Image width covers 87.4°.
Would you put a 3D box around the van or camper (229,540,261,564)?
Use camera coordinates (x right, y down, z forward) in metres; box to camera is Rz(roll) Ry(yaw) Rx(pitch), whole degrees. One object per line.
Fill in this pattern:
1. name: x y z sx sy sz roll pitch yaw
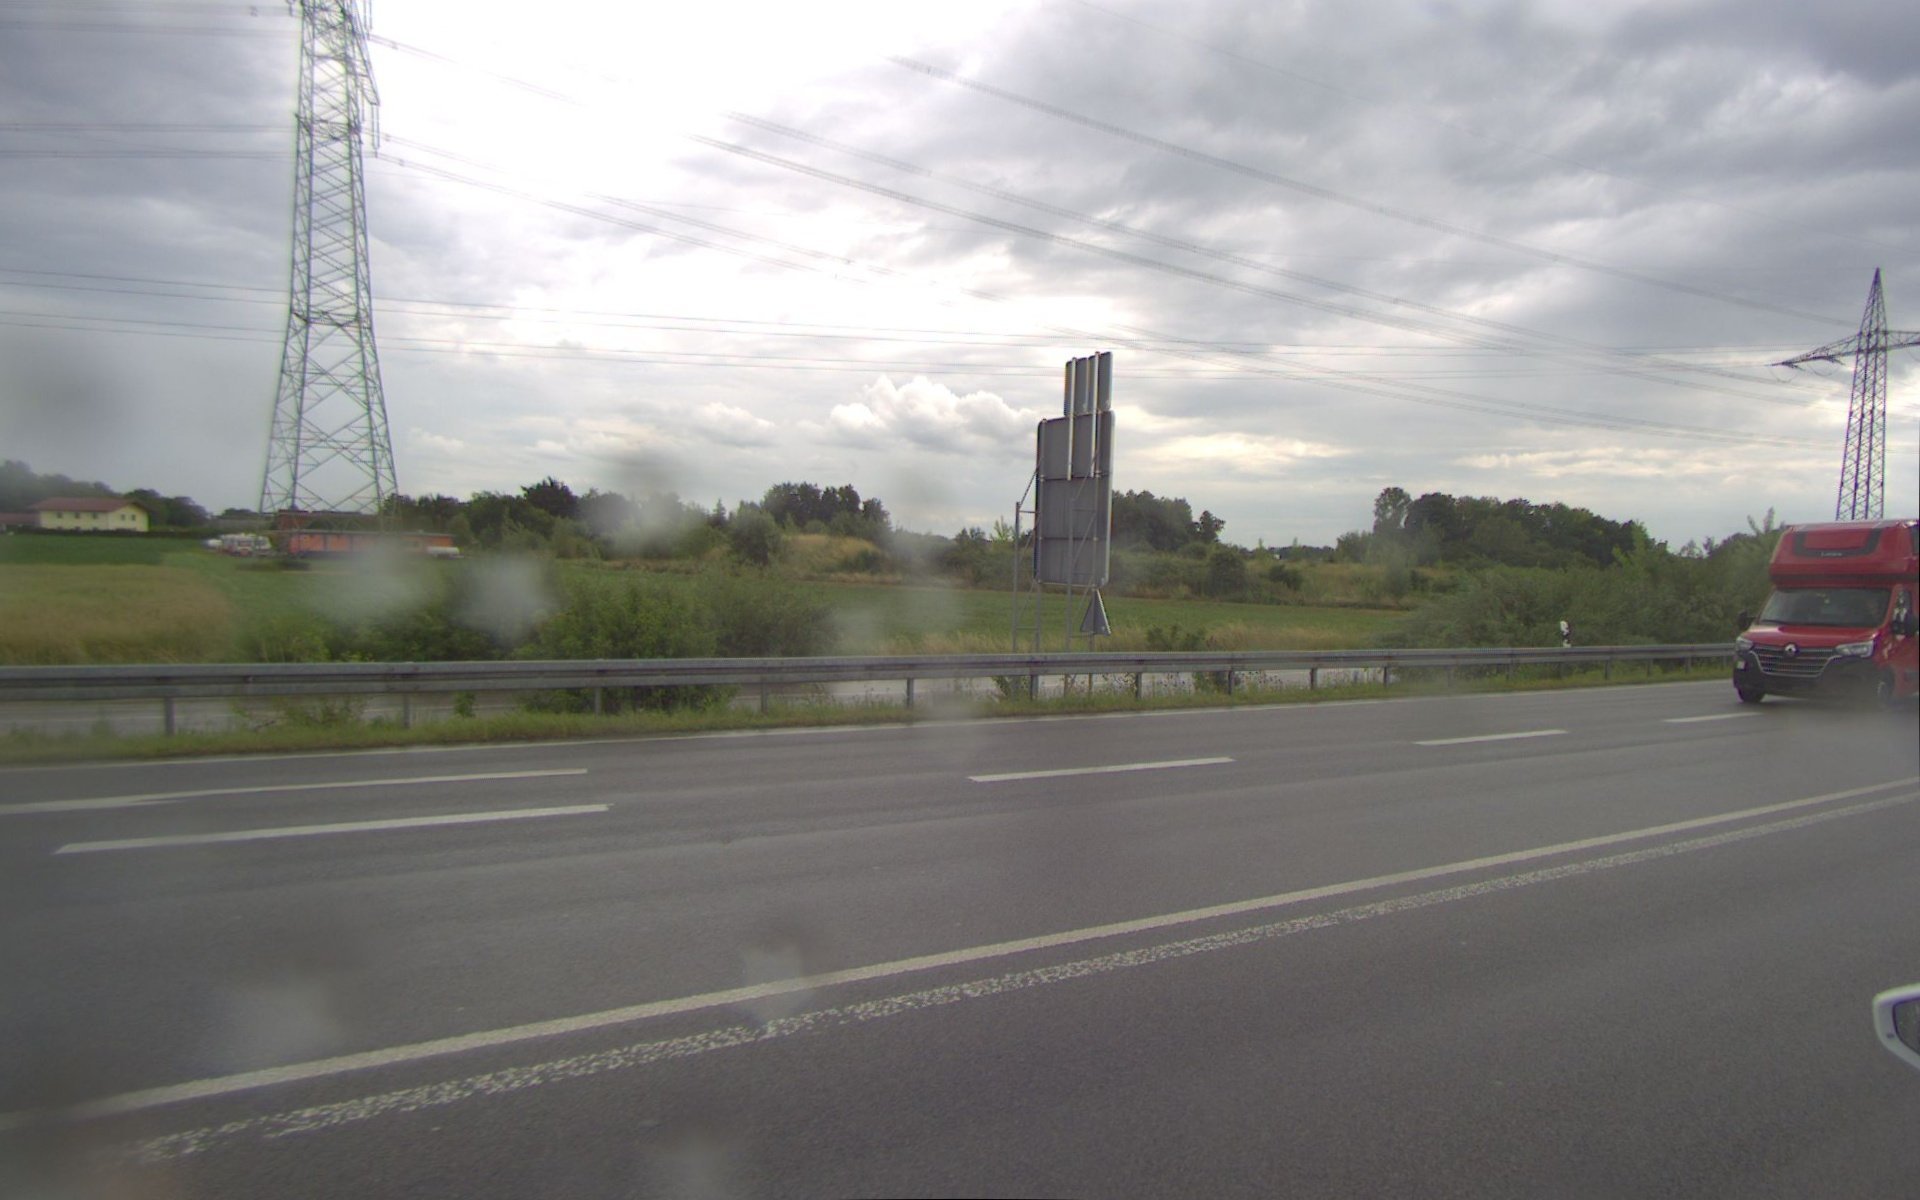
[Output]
1. van or camper: -91.137 -6.148 128.050 5.638 2.668 2.314 7 5 44

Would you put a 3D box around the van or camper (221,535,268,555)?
1. van or camper: -107.949 -8.277 151.538 5.669 2.667 2.302 1 4 -39

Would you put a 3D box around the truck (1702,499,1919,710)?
1. truck: 16.997 0.105 18.699 7.194 3.336 2.469 0 0 -30
